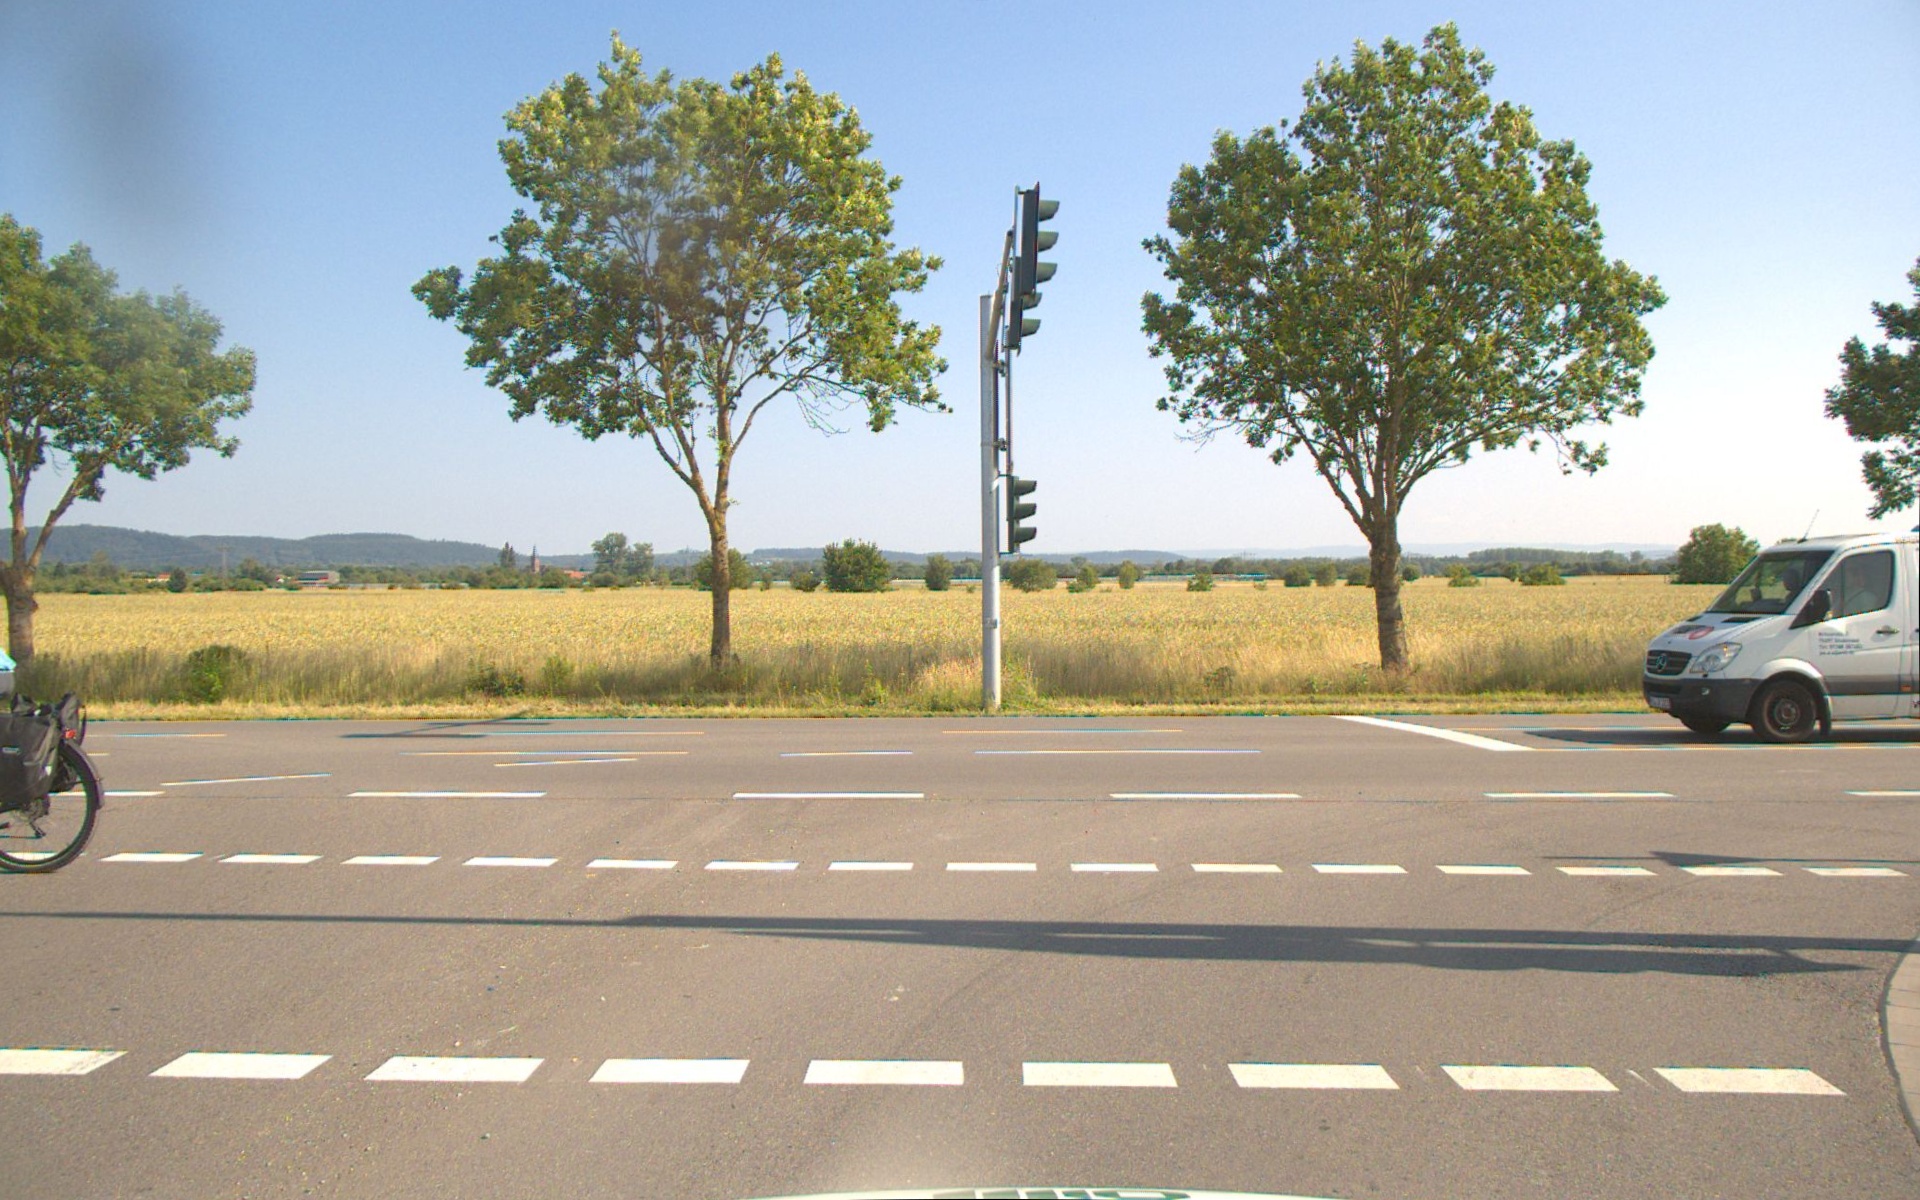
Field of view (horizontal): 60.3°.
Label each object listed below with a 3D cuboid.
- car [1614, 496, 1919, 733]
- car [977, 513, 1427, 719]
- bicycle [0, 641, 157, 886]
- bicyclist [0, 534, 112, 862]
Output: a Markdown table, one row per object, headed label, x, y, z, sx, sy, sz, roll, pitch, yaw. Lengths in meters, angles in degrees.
| label | x | y | z | sx | sy | sz | roll | pitch | yaw |
| --- | --- | --- | --- | --- | --- | --- | --- | --- | --- |
| car | 10.761 | 0.178 | 18.875 | 5.838 | 2.536 | 1.999 | 0 | -1 | -3 |
| car | 3.272 | 0.244 | 23.067 | 5.779 | 2.622 | 2.389 | 1 | -1 | -7 |
| bicycle | -5.454 | 0.821 | 8.583 | 2.114 | 1.207 | 0.889 | 0 | -1 | -6 |
| bicyclist | -5.367 | 0.473 | 8.711 | 1.254 | 1.629 | 1.164 | 0 | 1 | -6 |
